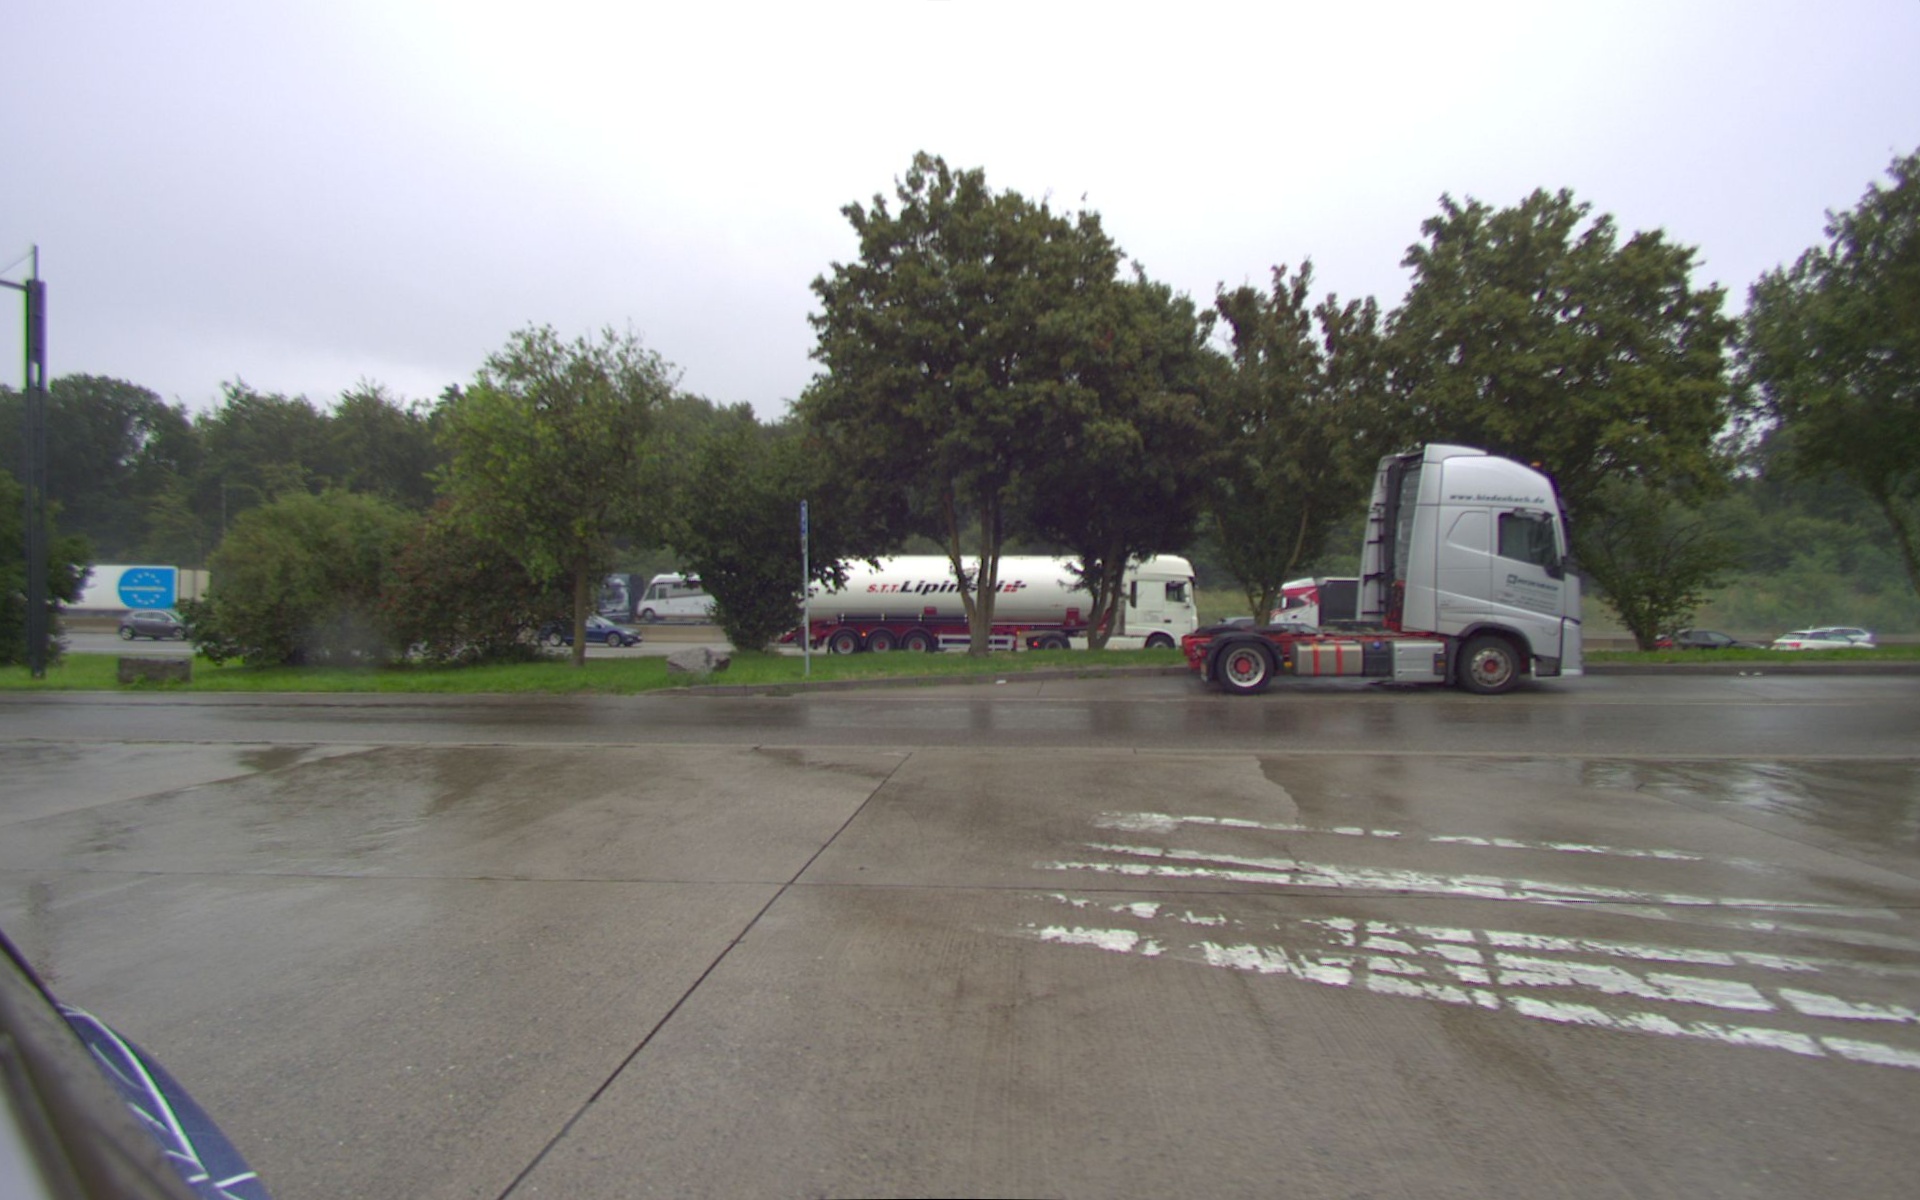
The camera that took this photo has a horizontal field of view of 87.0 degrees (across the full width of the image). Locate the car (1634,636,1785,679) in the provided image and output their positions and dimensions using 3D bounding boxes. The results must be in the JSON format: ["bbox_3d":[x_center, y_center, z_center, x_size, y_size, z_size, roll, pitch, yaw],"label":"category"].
[{"bbox_3d":[29.537,2.256,39.977,4.443,1.492,1.884,1,0,3],"label":"car"}]

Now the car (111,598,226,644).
[{"bbox_3d":[-37.219,0.969,47.644,4.062,2.029,1.996,1,0,6],"label":"car"}]

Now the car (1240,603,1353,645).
[{"bbox_3d":[14.530,1.045,43.894,4.350,1.681,1.821,1,-1,6],"label":"car"}]

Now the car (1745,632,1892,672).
[{"bbox_3d":[36.656,2.201,43.302,4.448,1.492,1.882,1,0,7],"label":"car"}]

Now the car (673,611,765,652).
[{"bbox_3d":[-11.714,1.519,49.336,3.950,1.889,2.003,-1,-1,5],"label":"car"}]

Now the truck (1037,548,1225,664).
[{"bbox_3d":[6.117,0.216,36.993,6.420,4.039,2.757,0,-1,2],"label":"truck"}]

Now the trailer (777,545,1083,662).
[{"bbox_3d":[-1.061,0.097,37.336,10.894,4.056,2.769,0,1,3],"label":"trailer"}]

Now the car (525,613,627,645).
[{"bbox_3d":[-17.682,1.332,46.699,4.073,1.425,1.821,-1,0,6],"label":"car"}]

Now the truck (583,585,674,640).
[{"bbox_3d":[-20.396,0.751,62.384,4.863,3.181,2.248,0,3,-1],"label":"truck"}]

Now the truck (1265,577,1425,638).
[{"bbox_3d":[23.384,0.451,61.876,8.582,3.532,2.775,-1,0,7],"label":"truck"}]

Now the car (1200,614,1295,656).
[{"bbox_3d":[13.556,1.646,47.924,3.950,1.889,2.003,-1,-1,5],"label":"car"}]

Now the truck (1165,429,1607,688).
[{"bbox_3d":[6.831,-0.599,17.175,6.238,3.934,2.920,-1,0,6],"label":"truck"}]
